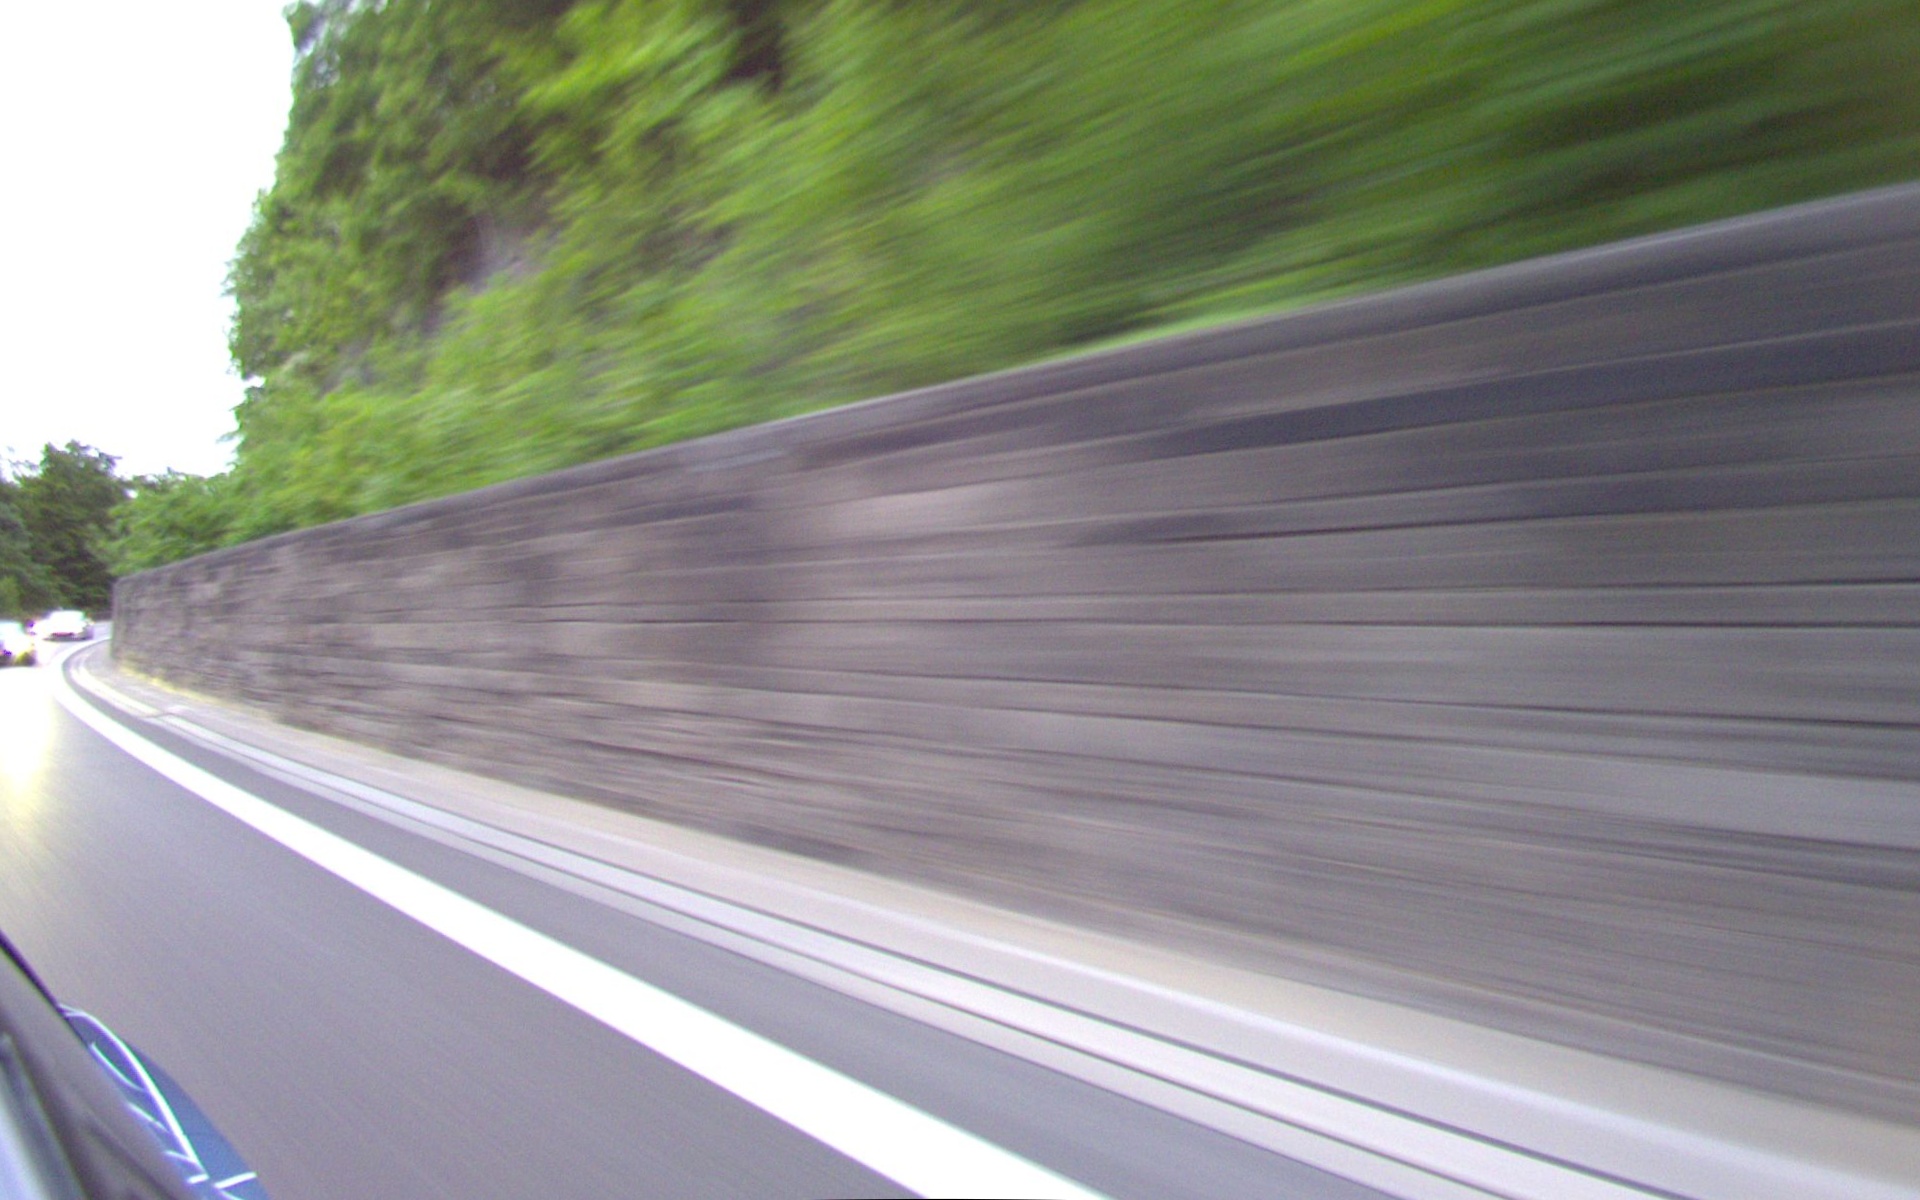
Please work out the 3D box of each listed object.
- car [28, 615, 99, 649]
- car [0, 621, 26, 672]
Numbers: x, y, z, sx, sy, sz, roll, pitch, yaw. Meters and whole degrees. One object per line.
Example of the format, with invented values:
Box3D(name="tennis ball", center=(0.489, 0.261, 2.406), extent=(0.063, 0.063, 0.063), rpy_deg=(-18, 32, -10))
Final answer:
Box3D(name="car", center=(-46.491, 1.617, 52.563), extent=(1.966, 1.519, 4.012), rpy_deg=(-3, 2, -31))
Box3D(name="car", center=(-30.283, 1.408, 31.305), extent=(1.970, 1.519, 4.003), rpy_deg=(0, -1, -44))
